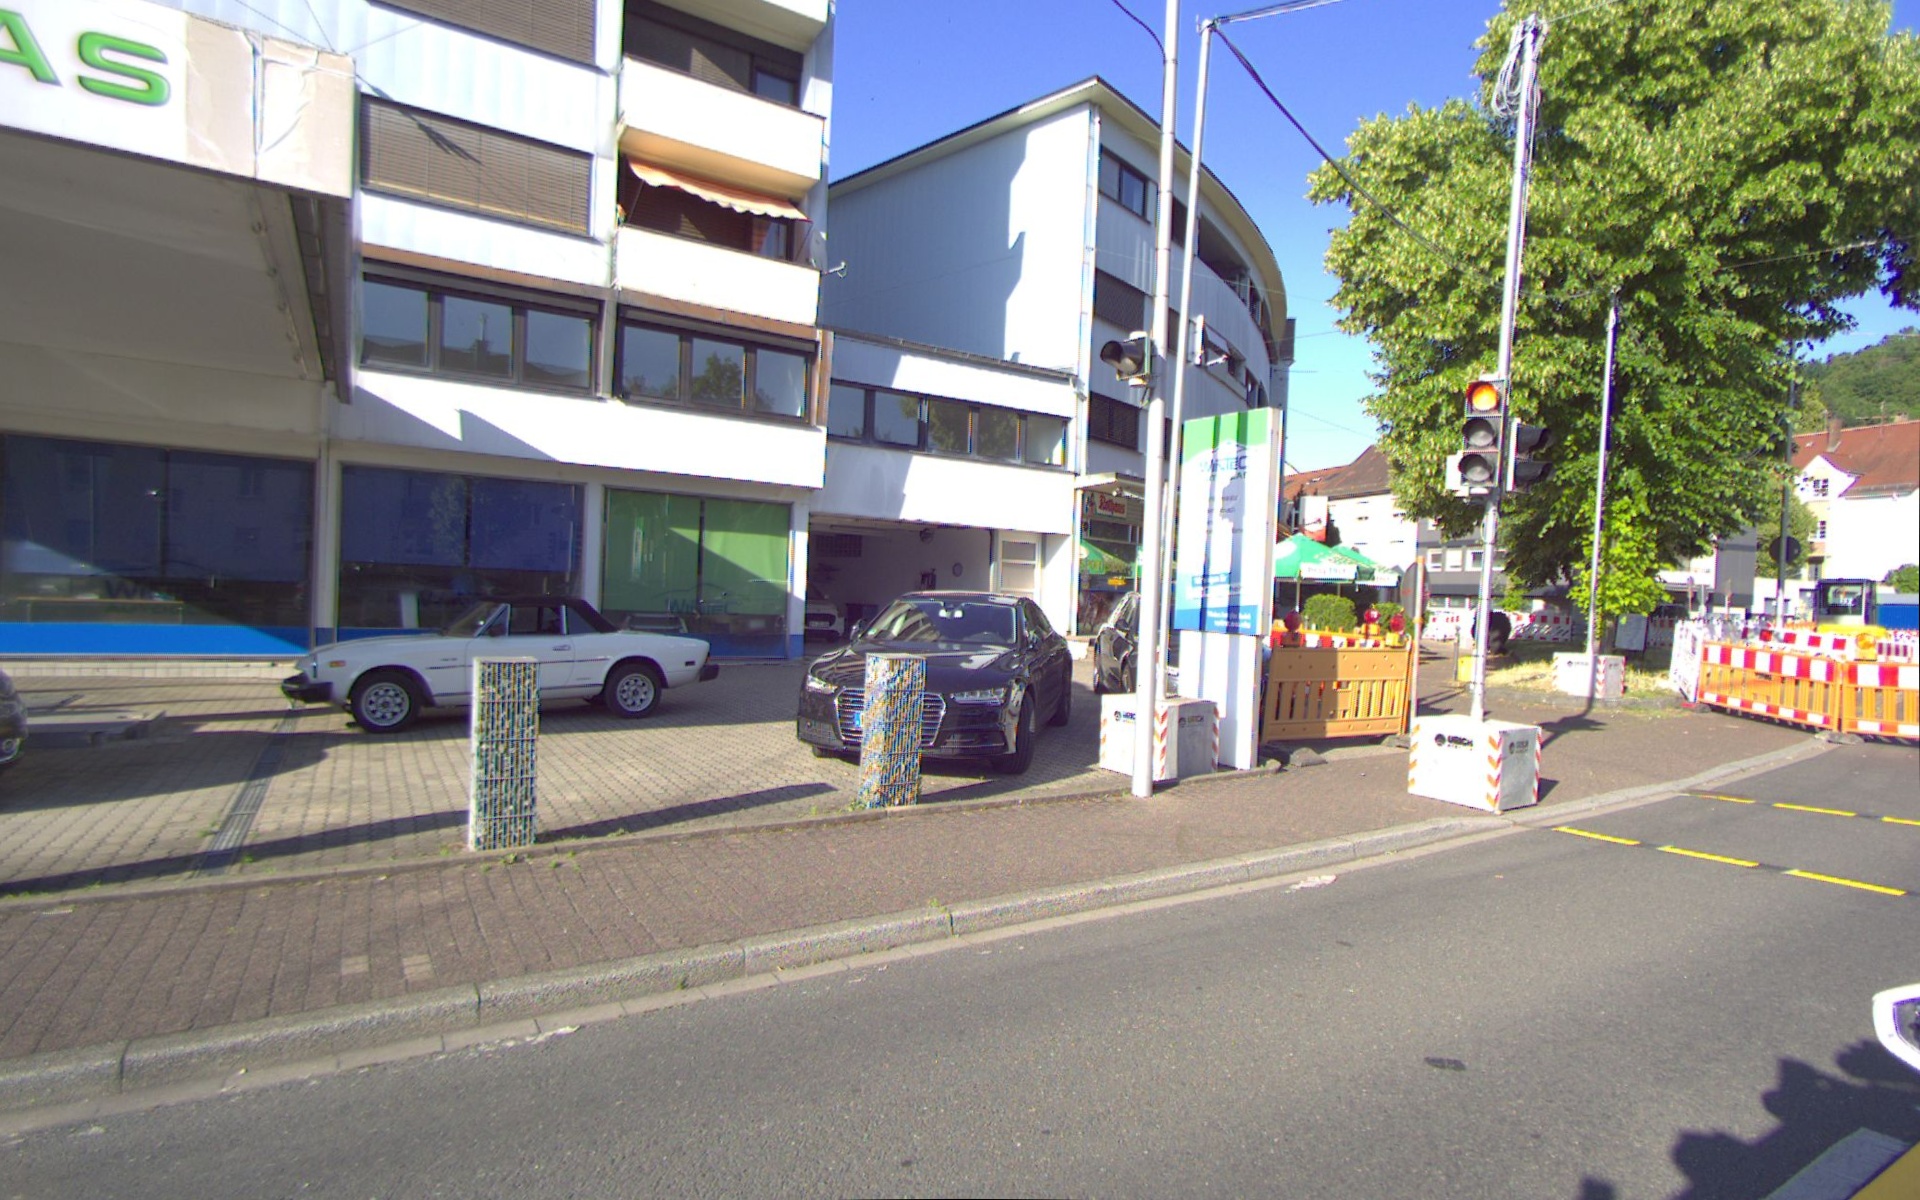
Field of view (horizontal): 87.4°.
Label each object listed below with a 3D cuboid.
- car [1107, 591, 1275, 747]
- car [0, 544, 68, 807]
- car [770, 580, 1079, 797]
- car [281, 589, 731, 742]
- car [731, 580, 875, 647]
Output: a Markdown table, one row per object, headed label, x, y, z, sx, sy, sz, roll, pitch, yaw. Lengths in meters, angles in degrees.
| label | x | y | z | sx | sy | sz | roll | pitch | yaw |
| --- | --- | --- | --- | --- | --- | --- | --- | --- | --- |
| car | 2.803 | 0.681 | 12.435 | 1.617 | 1.474 | 4.301 | 3 | 1 | 12 |
| car | -7.485 | 0.391 | 5.855 | 3.325 | 1.589 | 1.623 | 2 | 1 | 8 |
| car | -0.046 | 0.597 | 9.463 | 1.872 | 1.474 | 4.315 | 3 | 1 | 12 |
| car | -4.643 | 0.577 | 10.525 | 4.097 | 1.301 | 1.576 | 0 | 1 | -35 |
| car | -3.922 | 0.290 | 24.662 | 1.980 | 1.486 | 3.961 | 1 | 0 | -34 |
